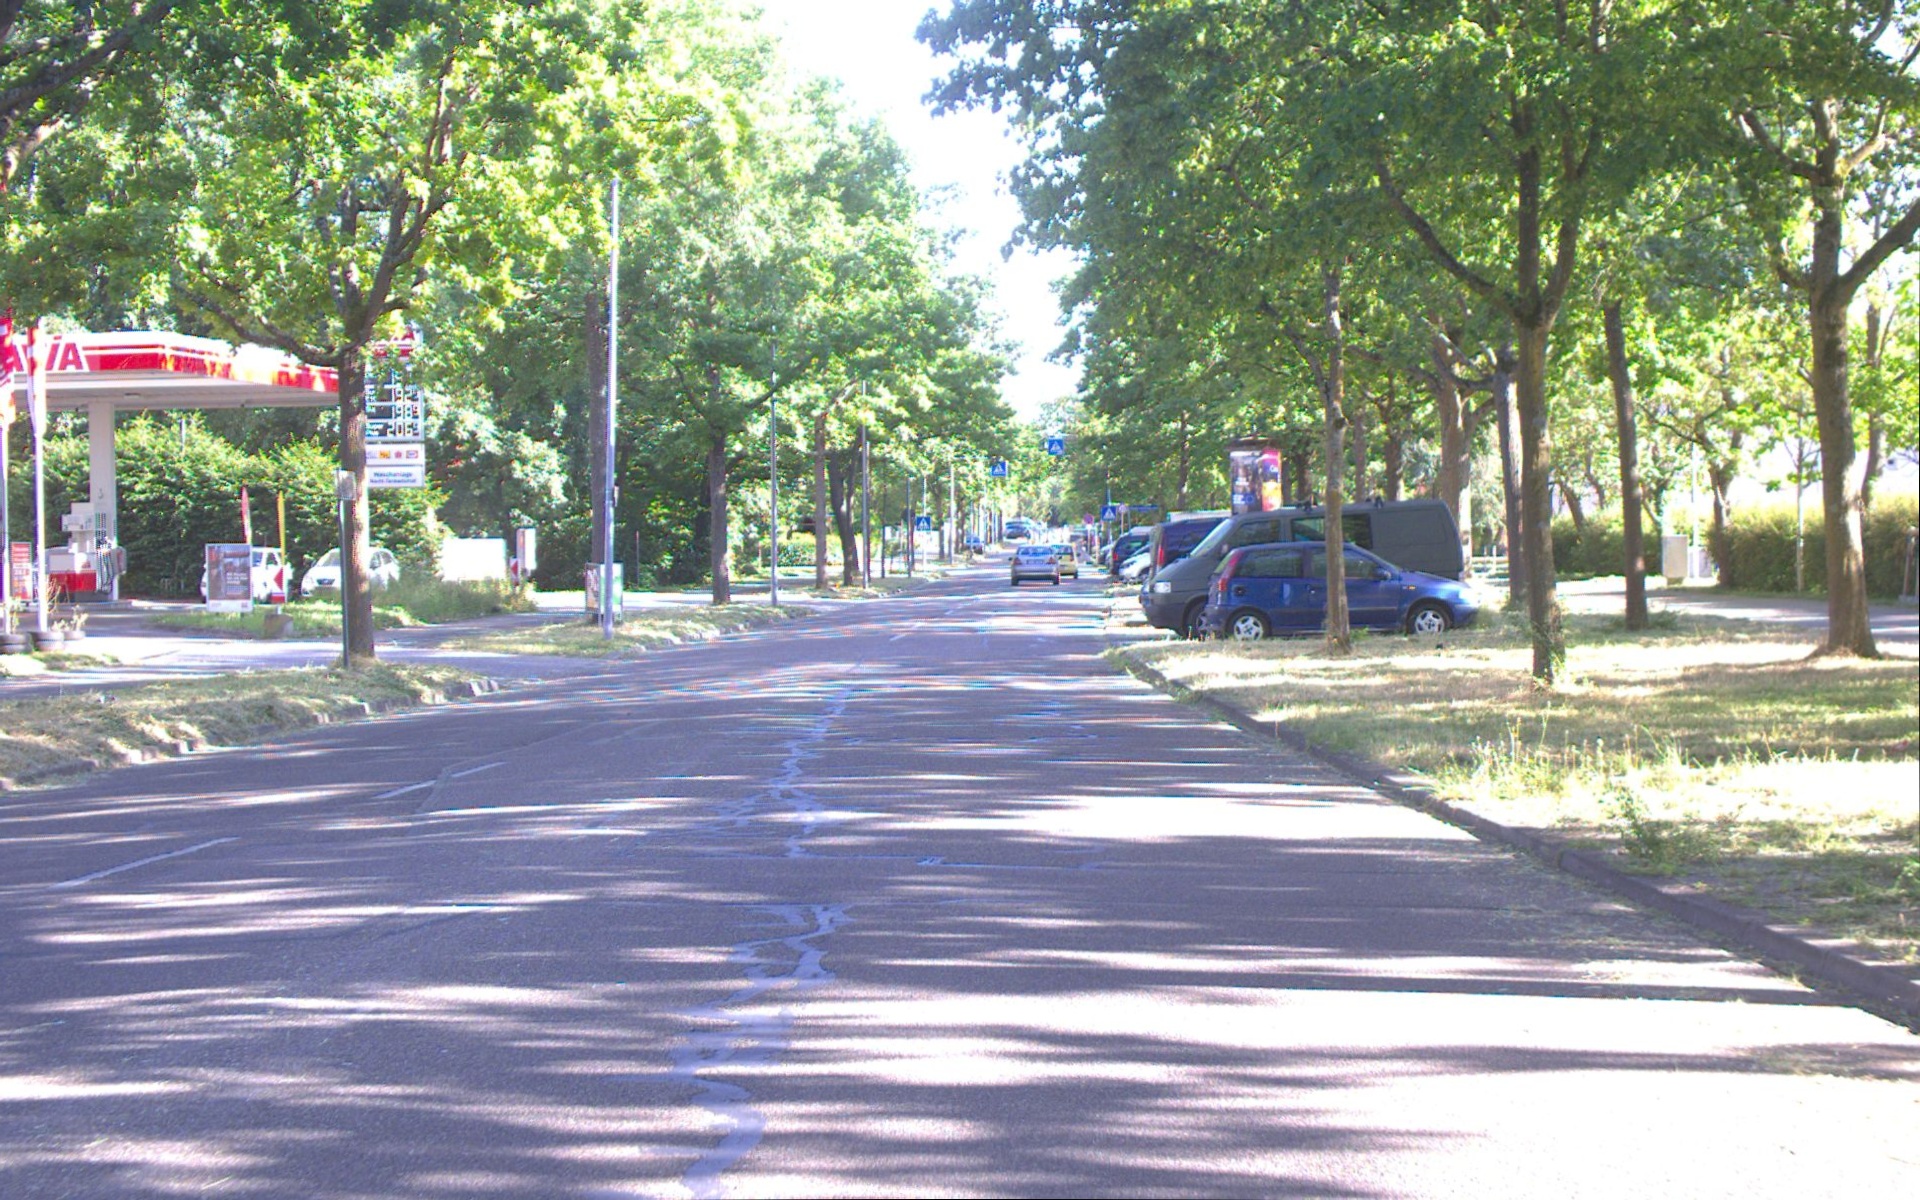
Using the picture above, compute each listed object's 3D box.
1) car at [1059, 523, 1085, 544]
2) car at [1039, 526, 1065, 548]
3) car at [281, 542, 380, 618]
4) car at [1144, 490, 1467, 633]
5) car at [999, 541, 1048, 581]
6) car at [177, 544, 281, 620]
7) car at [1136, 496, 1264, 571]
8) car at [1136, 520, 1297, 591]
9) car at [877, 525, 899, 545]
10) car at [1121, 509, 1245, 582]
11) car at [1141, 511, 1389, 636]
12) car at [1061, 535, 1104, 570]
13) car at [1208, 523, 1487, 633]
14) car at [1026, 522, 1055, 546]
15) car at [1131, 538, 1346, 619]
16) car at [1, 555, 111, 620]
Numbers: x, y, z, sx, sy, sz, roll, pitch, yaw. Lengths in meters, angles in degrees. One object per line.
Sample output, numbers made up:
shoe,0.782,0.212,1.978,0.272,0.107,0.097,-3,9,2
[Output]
car,7.909,-4.707,243.191,1.736,1.332,3.665,-1,0,1
car,6.142,-4.199,228.945,1.661,1.332,3.665,-1,0,1
car,-15.797,-0.489,86.429,1.801,1.817,3.805,-1,0,-1
car,4.983,-0.545,49.935,4.502,1.946,1.687,-1,0,1
car,2.244,-1.366,121.841,1.661,1.332,3.665,-1,0,1
car,-18.349,-0.429,86.471,1.801,1.817,3.805,-1,0,-1
car,6.936,-1.914,99.621,3.567,2.044,1.633,-1,0,1
car,6.004,-1.030,80.624,3.653,1.557,1.317,-1,0,1
car,-5.401,-4.873,258.225,1.645,1.421,4.000,-1,0,-1
car,6.610,-1.612,102.276,3.567,2.044,1.575,-1,0,1
car,4.624,-0.399,52.436,3.653,1.791,1.317,-1,0,1
car,5.031,-1.938,141.716,1.661,1.332,3.665,-1,0,1
car,5.262,-0.293,46.947,3.653,1.393,1.317,-1,0,1
car,4.816,-3.938,206.548,1.661,1.332,3.665,-1,0,1
car,4.877,-0.374,60.460,3.653,1.325,1.317,-1,0,1
car,-23.236,-0.310,88.461,1.801,1.615,3.805,-1,0,0
